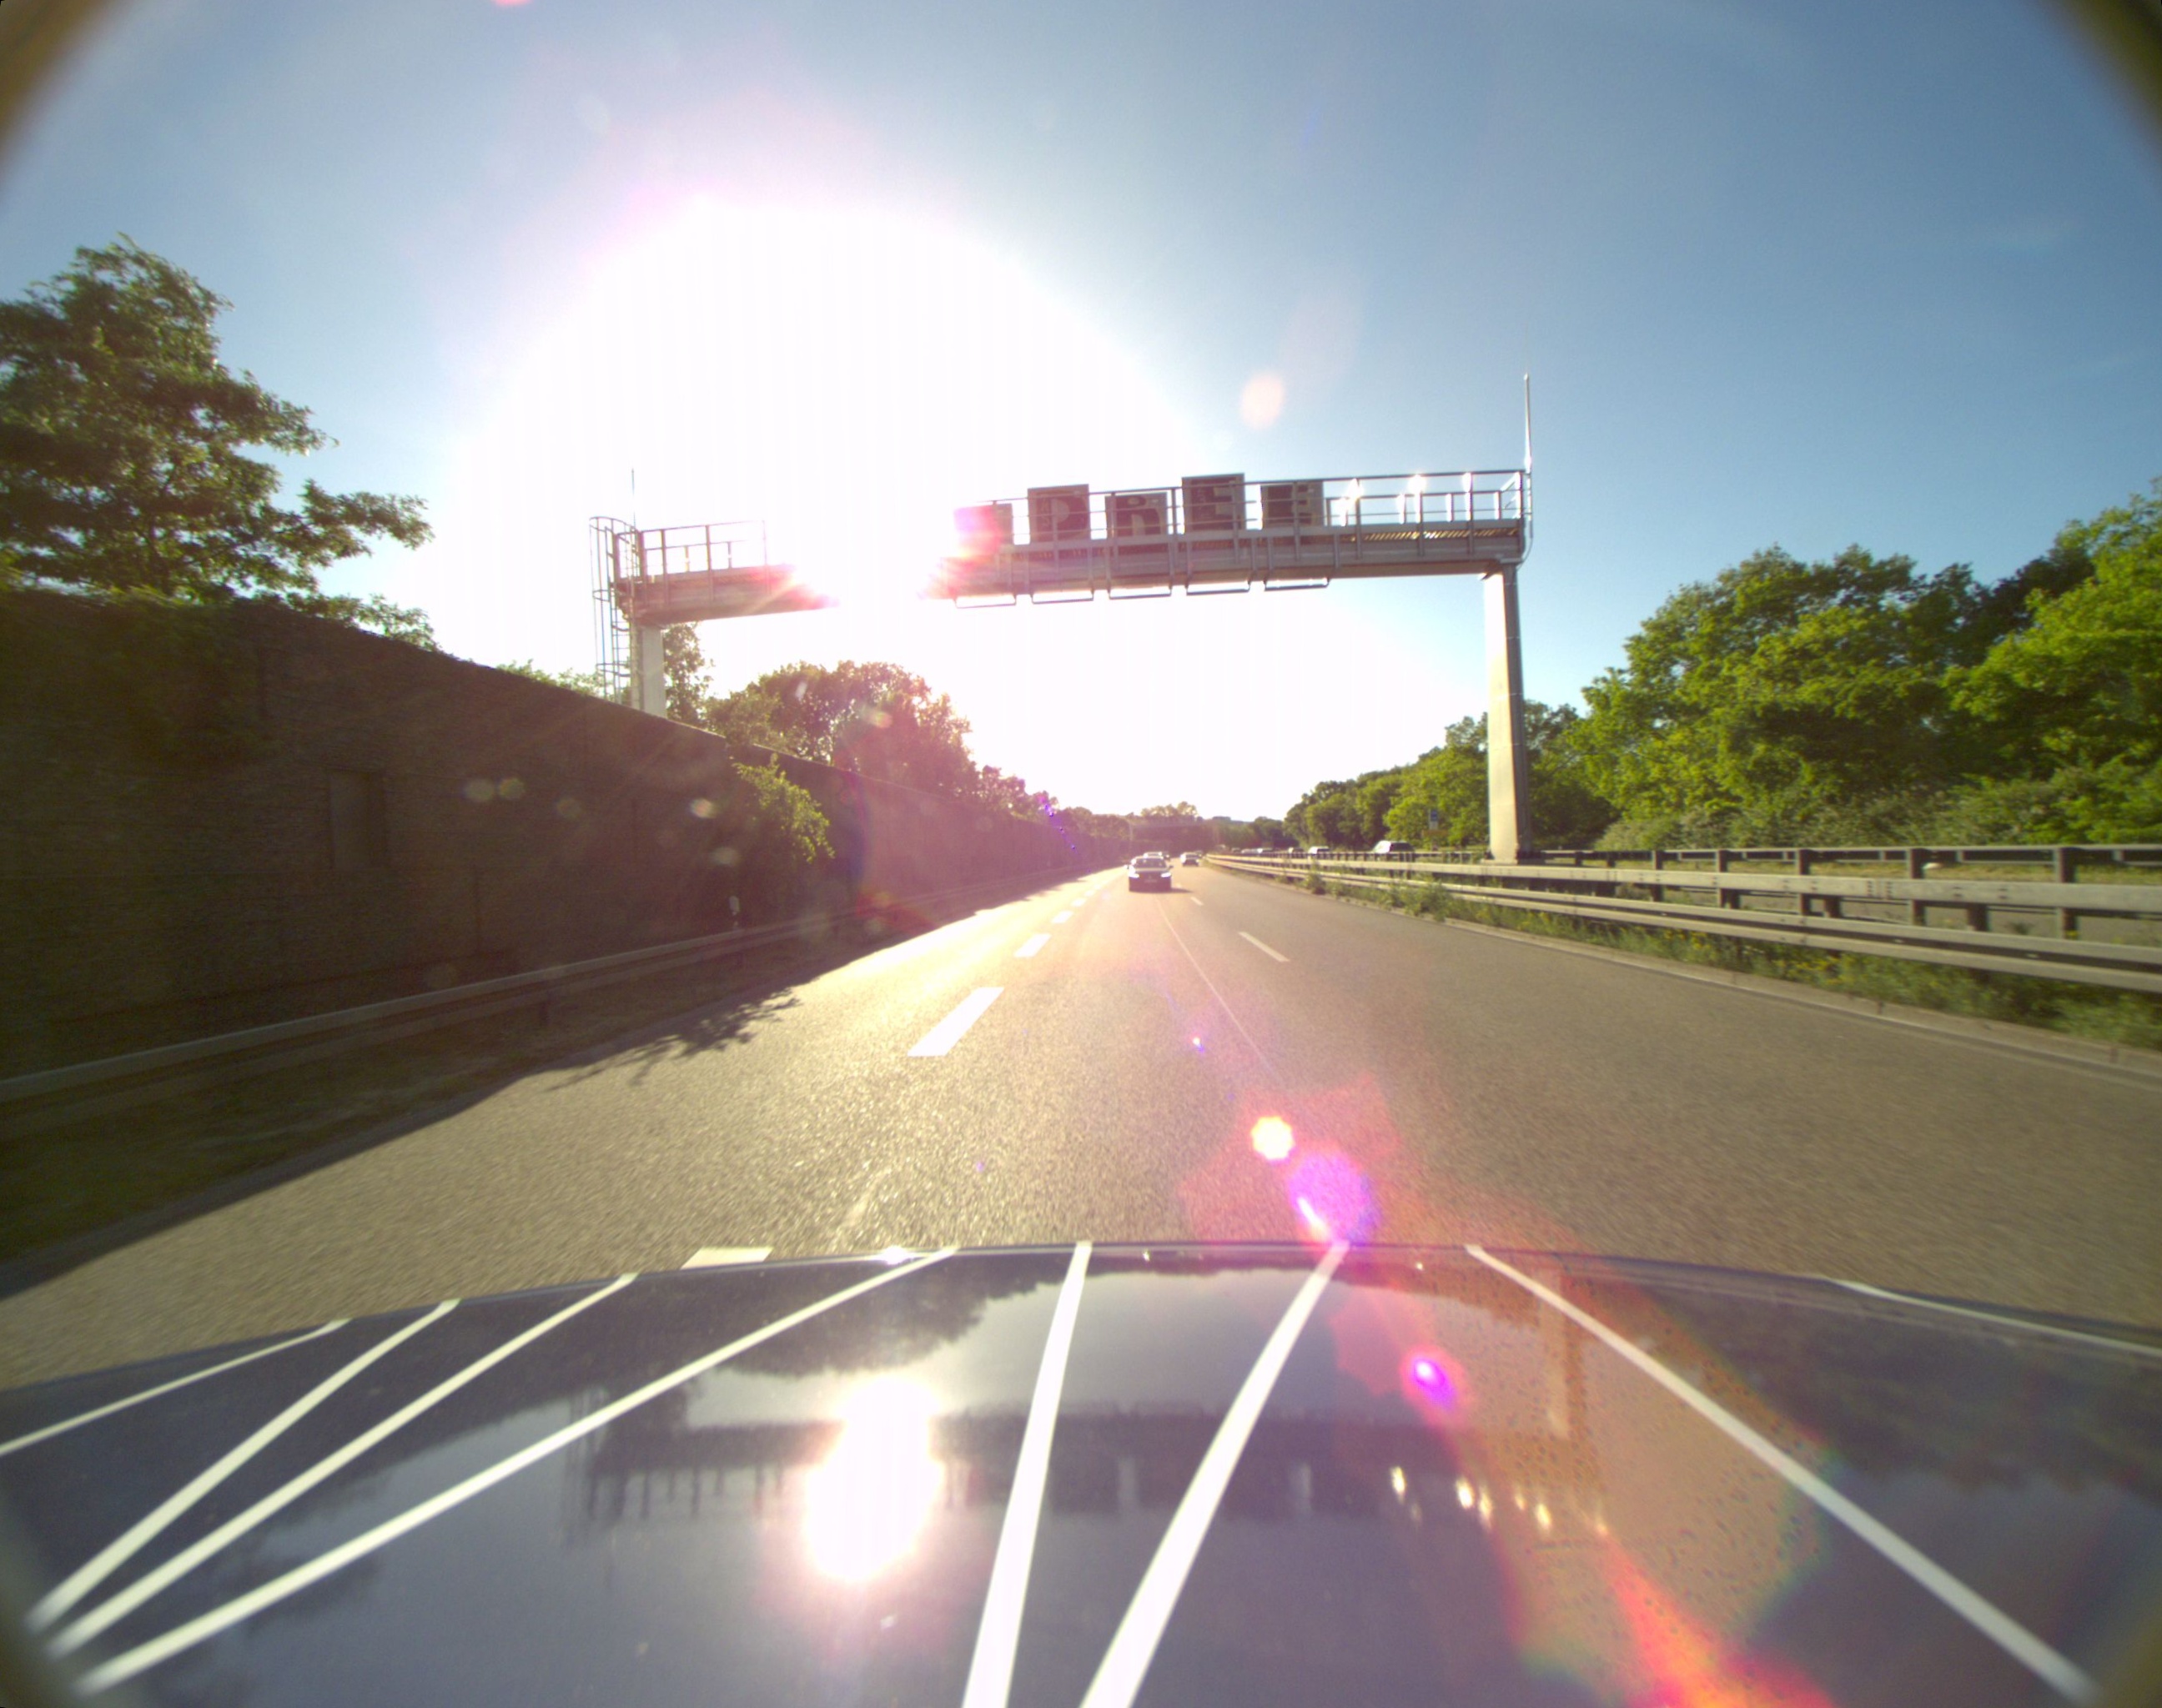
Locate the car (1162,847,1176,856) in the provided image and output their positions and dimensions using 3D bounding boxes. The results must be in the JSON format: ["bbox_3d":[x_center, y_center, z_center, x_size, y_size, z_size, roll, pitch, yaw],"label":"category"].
[{"bbox_3d":[15.062,-0.438,130.051,1.997,1.406,4.834,-3,0,11],"label":"car"}]

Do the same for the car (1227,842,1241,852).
[{"bbox_3d":[27.831,-1.264,138.252,1.998,1.631,4.722,-3,0,6],"label":"car"}]

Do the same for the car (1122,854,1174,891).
[{"bbox_3d":[2.966,0.752,32.884,1.997,1.406,4.833,-1,0,8],"label":"car"}]

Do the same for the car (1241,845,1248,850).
[{"bbox_3d":[50.167,-2.135,233.684,1.997,1.406,4.835,-3,0,12],"label":"car"}]

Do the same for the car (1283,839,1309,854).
[{"bbox_3d":[25.354,-0.826,89.789,1.998,1.631,5.029,-3,0,6],"label":"car"}]

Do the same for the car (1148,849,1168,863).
[{"bbox_3d":[8.351,0.178,81.866,1.998,1.406,4.833,-3,0,6],"label":"car"}]

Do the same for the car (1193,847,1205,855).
[{"bbox_3d":[23.539,-0.658,151.096,1.997,1.406,4.835,-3,0,13],"label":"car"}]

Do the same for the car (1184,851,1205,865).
[{"bbox_3d":[12.565,0.425,84.381,1.998,1.406,4.832,-3,0,5],"label":"car"}]

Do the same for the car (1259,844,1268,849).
[{"bbox_3d":[53.565,-2.163,223.047,1.996,1.406,4.836,-3,0,18],"label":"car"}]

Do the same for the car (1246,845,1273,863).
[{"bbox_3d":[17.805,-0.053,75.847,1.998,1.631,4.722,-3,0,6],"label":"car"}]

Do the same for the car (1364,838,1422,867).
[{"bbox_3d":[19.264,-0.105,47.083,1.998,1.631,4.722,-3,0,6],"label":"car"}]

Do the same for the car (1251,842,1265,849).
[{"bbox_3d":[35.456,-1.674,152.049,1.998,1.406,4.832,-3,0,6],"label":"car"}]

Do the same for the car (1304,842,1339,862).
[{"bbox_3d":[21.504,-0.182,68.153,1.998,1.631,4.722,-3,0,6],"label":"car"}]
